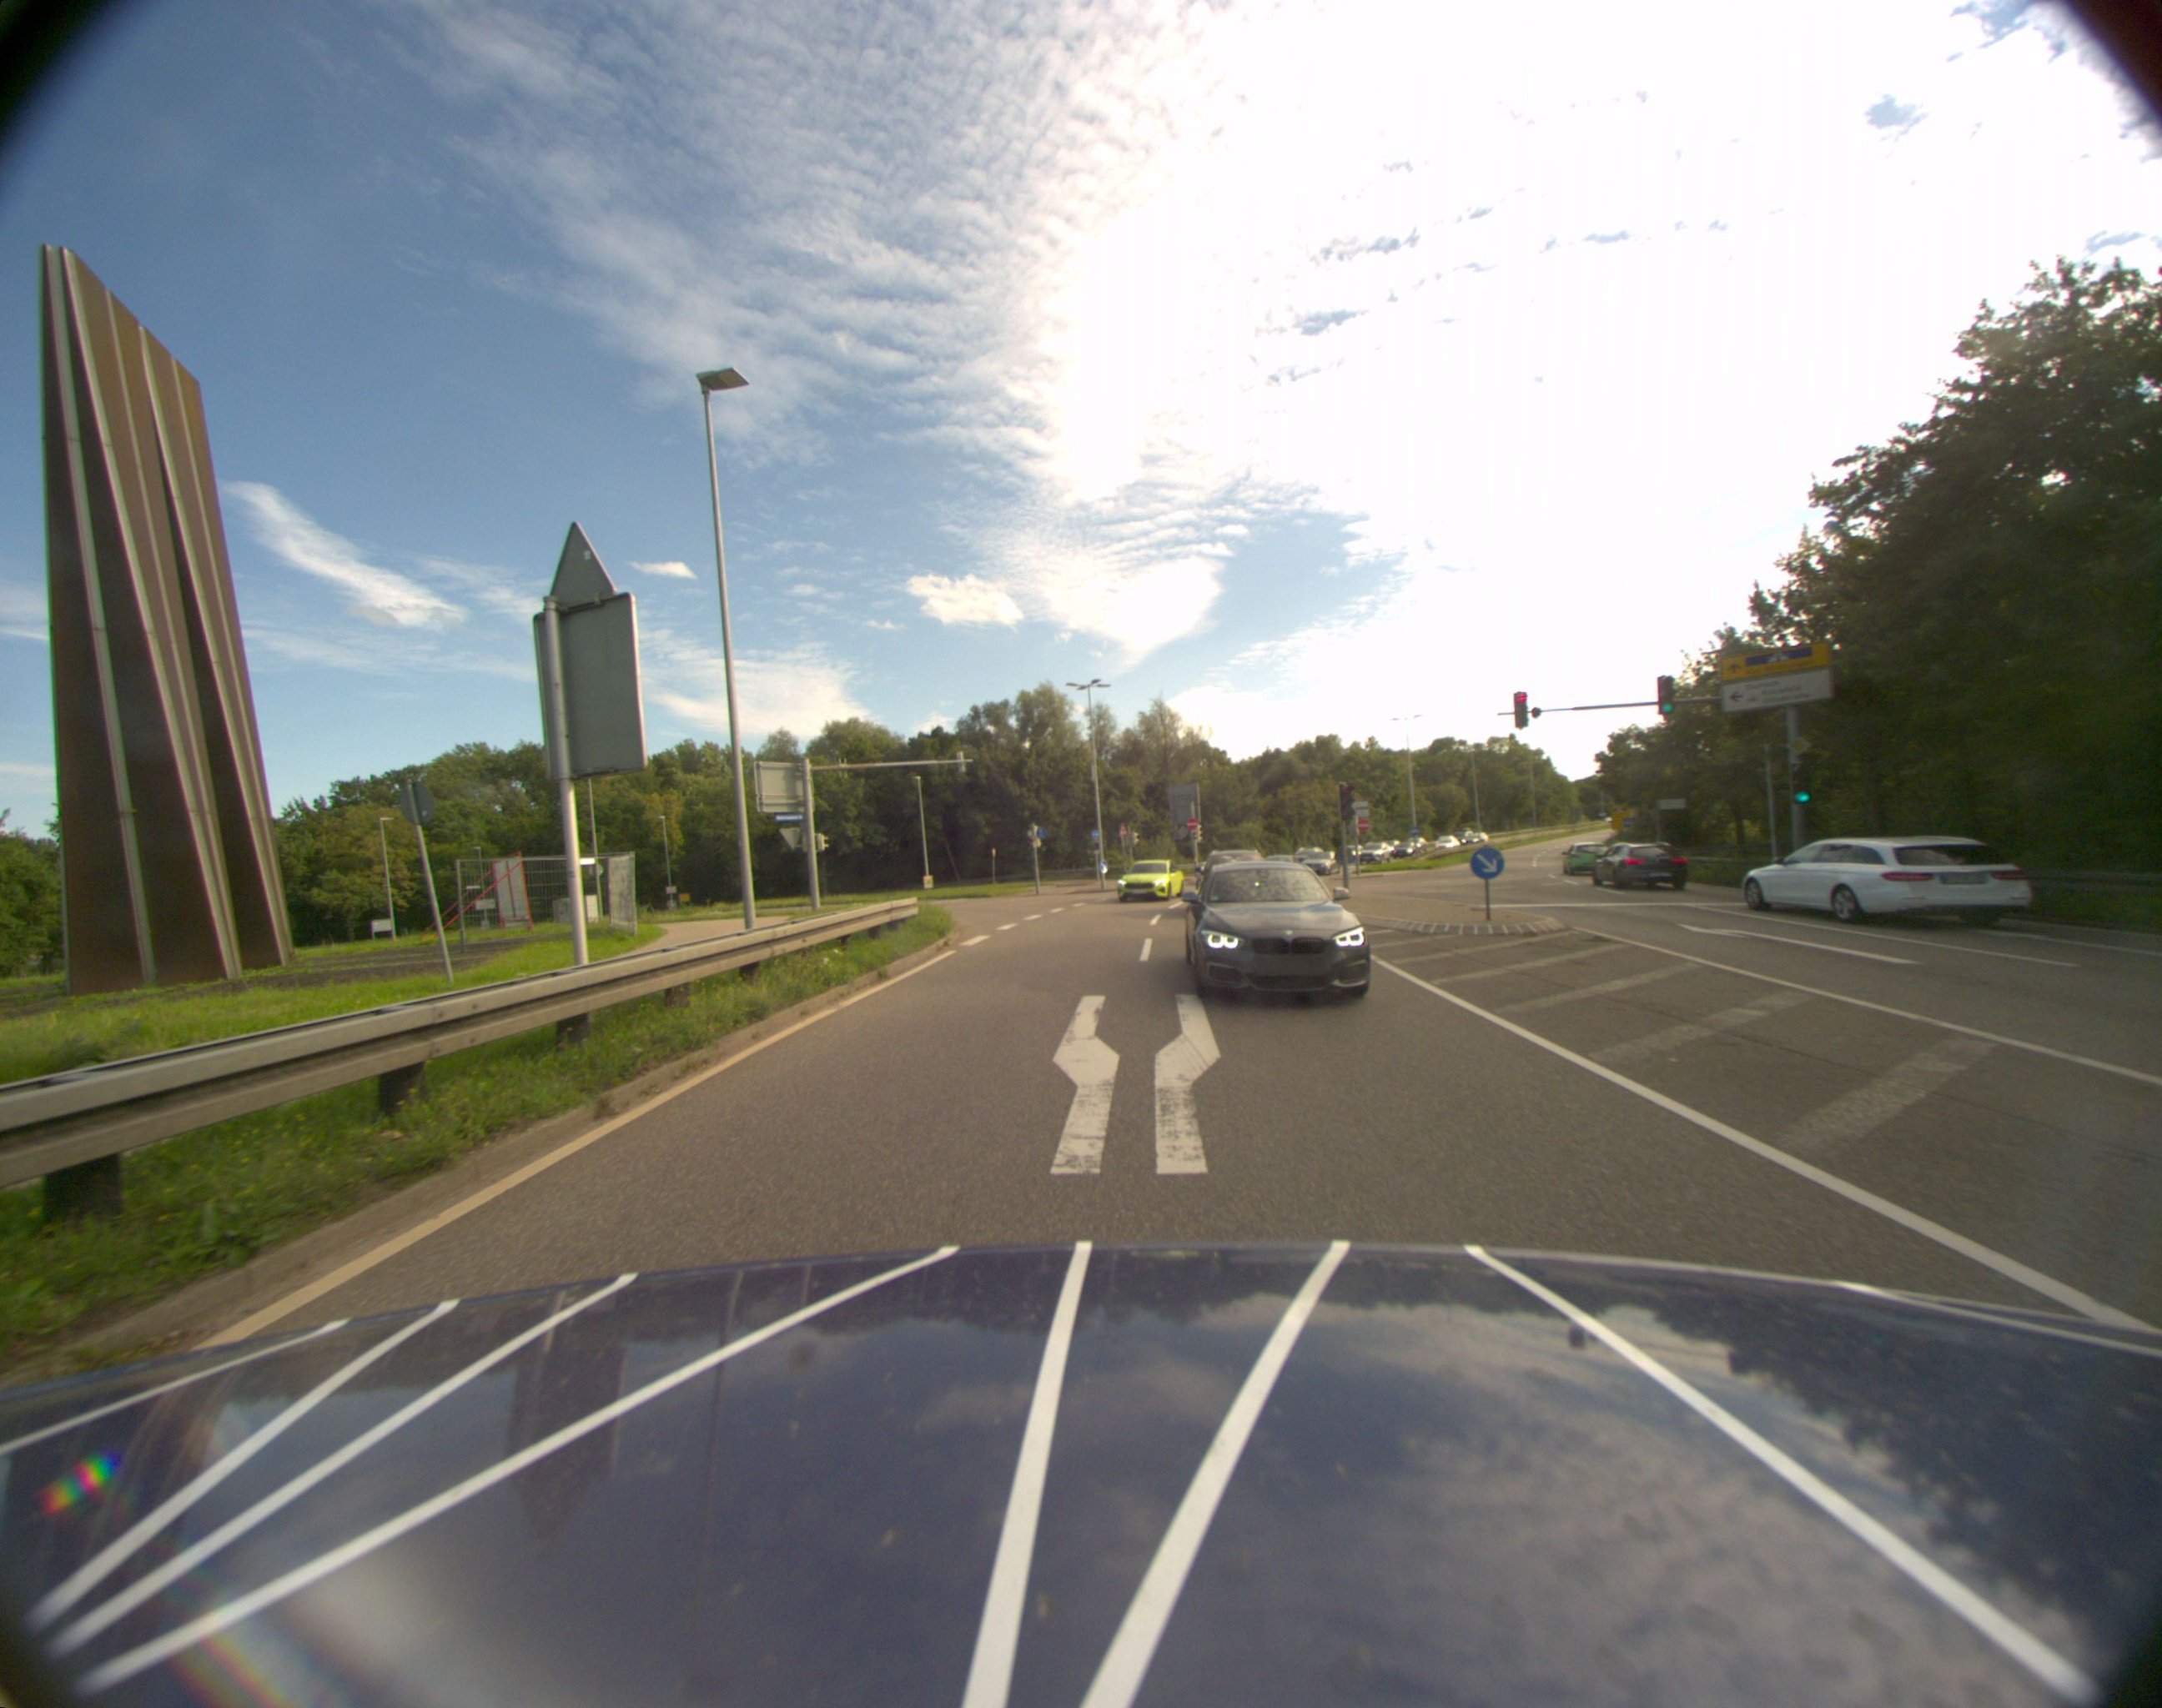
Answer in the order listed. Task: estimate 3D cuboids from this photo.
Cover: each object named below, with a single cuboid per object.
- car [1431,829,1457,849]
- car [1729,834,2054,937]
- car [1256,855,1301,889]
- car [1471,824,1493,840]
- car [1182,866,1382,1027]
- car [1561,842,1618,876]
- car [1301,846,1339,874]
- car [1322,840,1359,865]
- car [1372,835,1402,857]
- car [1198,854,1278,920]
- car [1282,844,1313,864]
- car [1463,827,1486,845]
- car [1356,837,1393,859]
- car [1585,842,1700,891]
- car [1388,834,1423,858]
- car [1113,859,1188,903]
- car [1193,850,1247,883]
[{"bbox_3d":[38.202,-1.580,79.834,1.995,2.002,4.007,-2,1,32],"label":"car"},{"bbox_3d":[14.179,0.465,13.807,1.816,1.511,4.832,-2,0,16],"label":"car"},{"bbox_3d":[8.802,0.759,34.090,1.689,1.315,3.787,-2,1,10],"label":"car"},{"bbox_3d":[55.276,-3.050,104.675,1.994,2.002,4.007,-1,1,37],"label":"car"},{"bbox_3d":[2.167,0.914,9.094,1.785,1.396,3.973,-2,0,9],"label":"car"},{"bbox_3d":[22.980,0.188,34.454,1.637,1.396,3.747,-2,0,26],"label":"car"},{"bbox_3d":[14.545,0.344,46.165,1.637,1.543,3.747,-2,0,26],"label":"car"},{"bbox_3d":[22.289,-0.135,65.172,1.995,2.002,4.007,-2,1,33],"label":"car"},{"bbox_3d":[30.590,-0.822,75.876,1.995,2.002,4.007,-2,1,33],"label":"car"},{"bbox_3d":[4.187,0.803,20.401,1.817,1.498,4.394,-2,0,11],"label":"car"},{"bbox_3d":[16.350,-0.011,57.240,1.637,1.396,3.747,-2,0,26],"label":"car"},{"bbox_3d":[46.034,-2.109,88.924,1.995,2.002,4.007,-2,1,33],"label":"car"},{"bbox_3d":[23.203,-0.465,59.971,1.995,1.591,4.289,-2,1,32],"label":"car"},{"bbox_3d":[17.790,0.341,24.313,1.816,1.396,4.397,-2,0,21],"label":"car"},{"bbox_3d":[29.655,-0.770,69.338,1.994,2.002,4.280,-1,1,35],"label":"car"},{"bbox_3d":[2.625,0.929,27.654,1.816,1.396,4.396,-2,0,17],"label":"car"},{"bbox_3d":[7.345,0.635,39.869,1.995,1.543,4.005,-2,1,22],"label":"car"}]
